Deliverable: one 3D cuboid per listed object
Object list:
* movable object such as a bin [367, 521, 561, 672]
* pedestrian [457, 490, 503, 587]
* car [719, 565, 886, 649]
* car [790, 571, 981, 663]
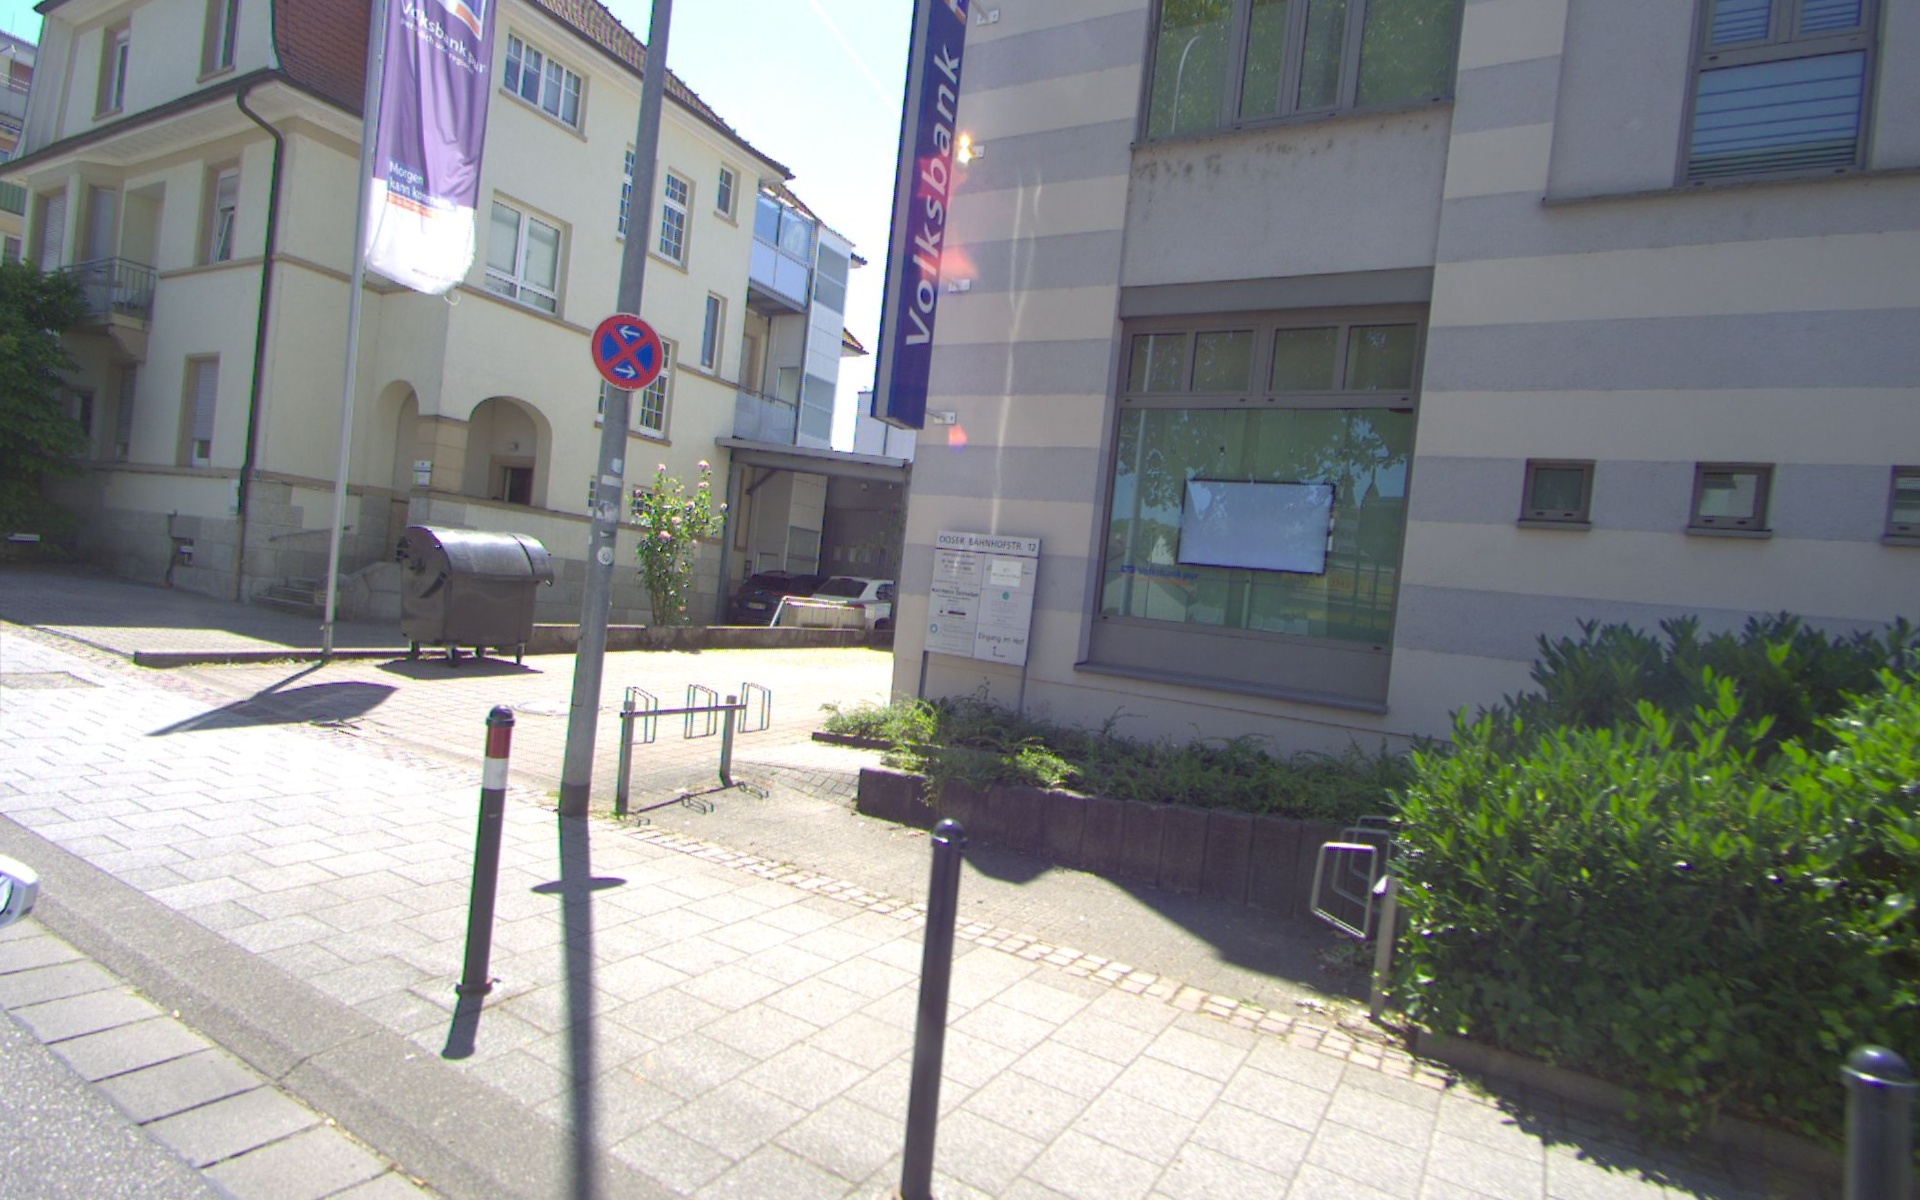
[{"bbox_3d":[-5.487,-0.049,11.169,1.358,1.479,1.367,7,3,32],"label":"movable object such as a bin"},{"bbox_3d":[-8.854,-1.130,18.536,0.588,1.679,0.733,6,1,-28],"label":"pedestrian"},{"bbox_3d":[-3.511,0.214,23.070,1.723,1.510,3.739,7,0,29],"label":"car"},{"bbox_3d":[-1.531,0.416,21.972,1.785,1.628,3.982,7,1,39],"label":"car"}]
